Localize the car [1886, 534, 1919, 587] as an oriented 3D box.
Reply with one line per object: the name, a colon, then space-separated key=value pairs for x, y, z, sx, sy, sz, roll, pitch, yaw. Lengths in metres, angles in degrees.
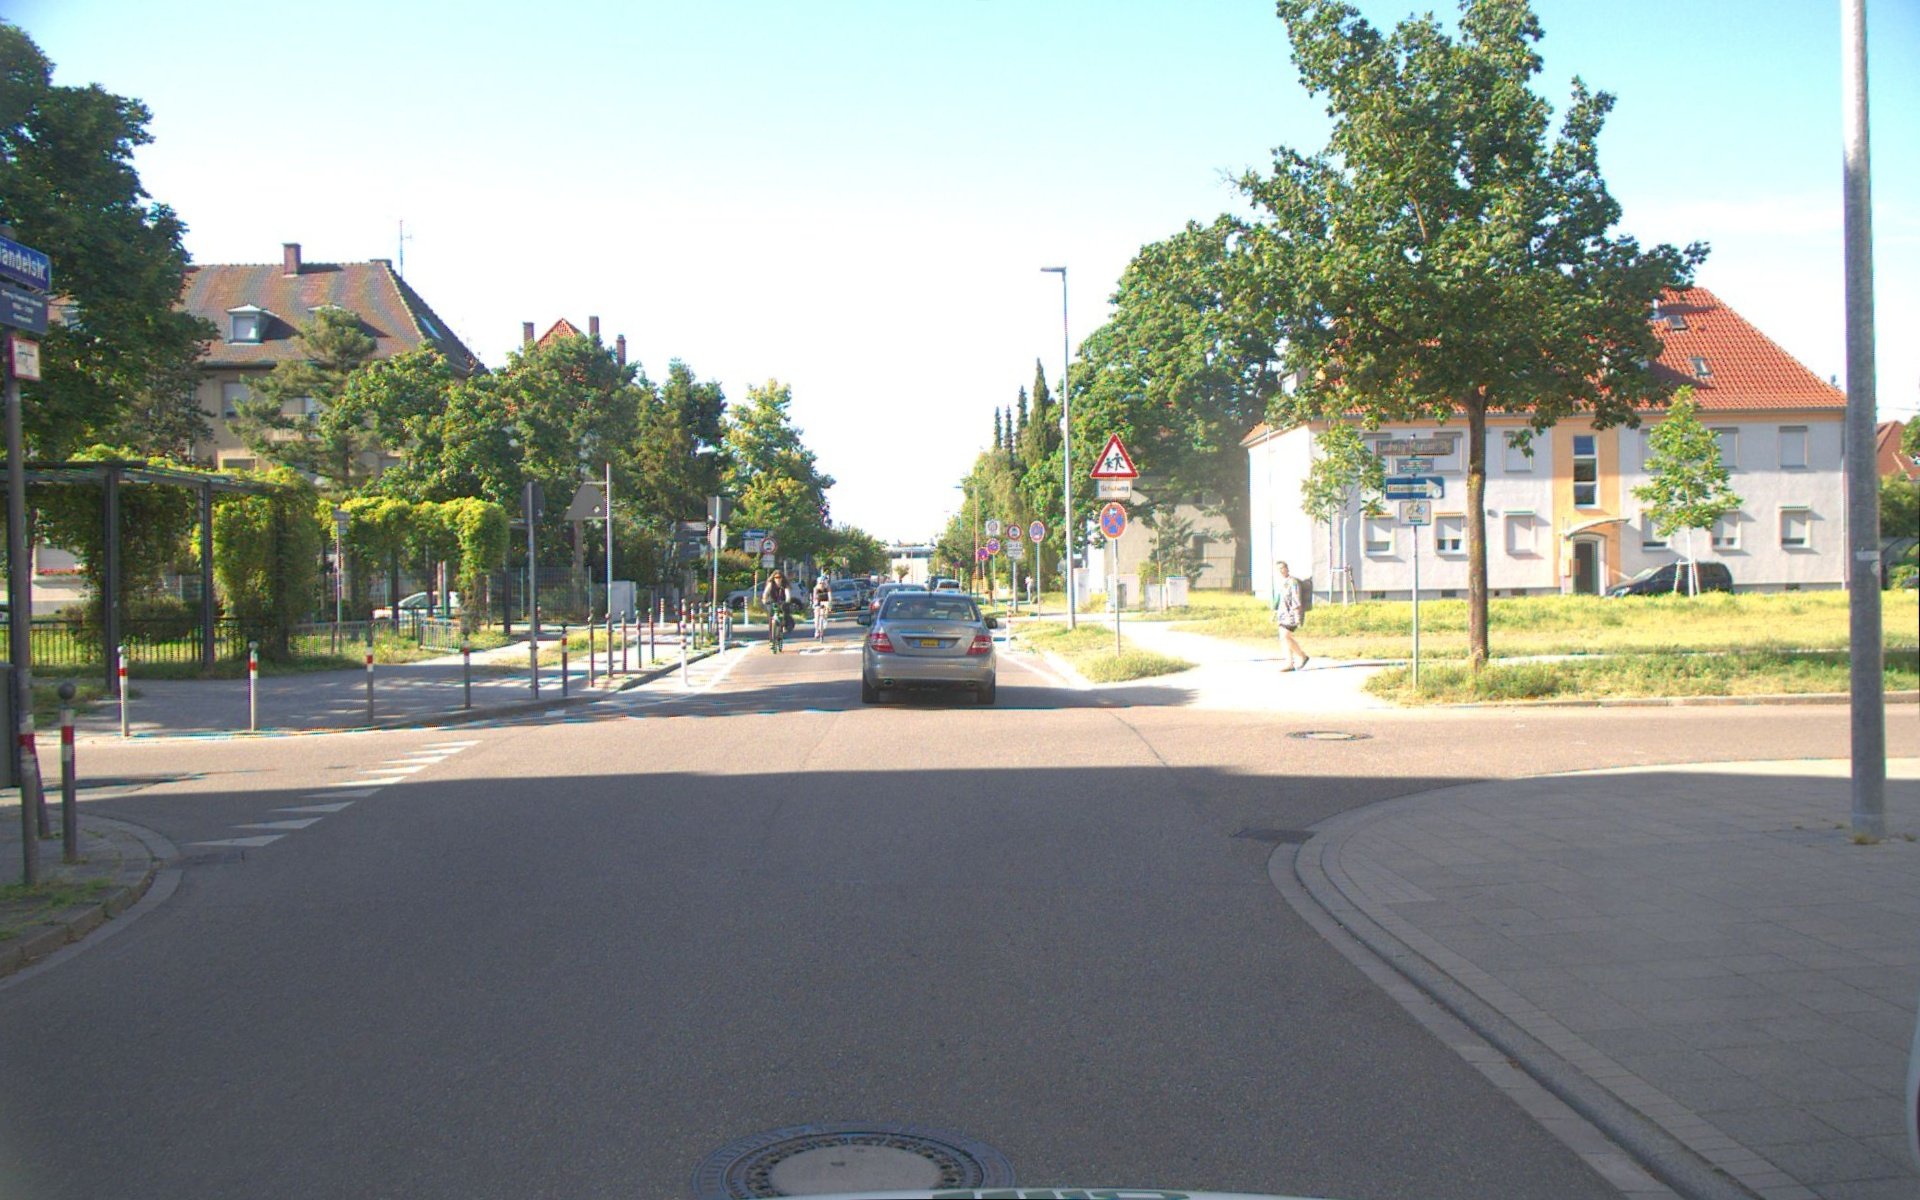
car: x=34.988 y=-1.427 z=57.946 sx=3.991 sy=1.815 sz=1.869 roll=-2 pitch=1 yaw=0

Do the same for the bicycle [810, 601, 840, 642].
bicycle: x=-3.347 y=0.517 z=41.021 sx=0.577 sy=0.948 sz=1.850 roll=-1 pitch=1 yaw=0

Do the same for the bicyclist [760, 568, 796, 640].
bicyclist: x=-3.964 y=0.089 z=36.090 sx=0.666 sy=1.535 sz=0.655 roll=-1 pitch=0 yaw=0

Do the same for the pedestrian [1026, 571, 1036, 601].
pedestrian: x=3.810 y=-0.743 z=88.458 sx=0.499 sy=1.586 sz=0.643 roll=1 pitch=-1 yaw=0

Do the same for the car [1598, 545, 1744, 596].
car: x=24.580 y=-1.014 z=57.289 sx=4.200 sy=1.628 sz=1.900 roll=-2 pitch=1 yaw=0

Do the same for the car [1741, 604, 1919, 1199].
car: x=2.838 y=0.677 z=2.386 sx=1.533 sy=1.435 sz=3.729 roll=-5 pitch=-1 yaw=0

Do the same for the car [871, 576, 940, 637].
car: x=-1.425 y=0.180 z=43.001 sx=1.672 sy=1.473 sz=4.200 roll=1 pitch=-1 yaw=-2

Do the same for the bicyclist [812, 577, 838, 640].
bicyclist: x=-3.358 y=0.214 z=41.069 sx=0.560 sy=1.535 sz=0.655 roll=-1 pitch=0 yaw=0

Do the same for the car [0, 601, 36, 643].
car: x=-33.920 y=0.797 z=56.207 sx=3.909 sy=1.400 sz=1.865 roll=-2 pitch=1 yaw=-5

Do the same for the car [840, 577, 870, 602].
car: x=-6.866 y=-0.693 z=107.768 sx=1.753 sy=1.559 sz=3.995 roll=-2 pitch=1 yaw=-6

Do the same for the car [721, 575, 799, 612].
car: x=-9.142 y=-0.311 z=75.485 sx=3.428 sy=1.560 sz=1.642 roll=-2 pitch=1 yaw=-8

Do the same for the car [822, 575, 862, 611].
car: x=-6.026 y=-0.362 z=84.173 sx=1.837 sy=1.758 sz=3.995 roll=-1 pitch=1 yaw=-6

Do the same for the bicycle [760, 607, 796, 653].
bicycle: x=-3.955 y=0.642 z=36.054 sx=0.577 sy=0.948 sz=1.850 roll=-1 pitch=1 yaw=0

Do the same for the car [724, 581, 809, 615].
car: x=-9.228 y=-0.102 z=79.036 sx=3.908 sy=1.550 sz=1.755 roll=1 pitch=-1 yaw=-4

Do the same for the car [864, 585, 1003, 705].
car: x=-0.340 y=0.573 z=22.263 sx=1.691 sy=1.445 sz=3.959 roll=1 pitch=-1 yaw=-1

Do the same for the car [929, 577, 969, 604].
car: x=-0.610 y=-0.494 z=86.968 sx=1.689 sy=1.353 sz=3.995 roll=-2 pitch=1 yaw=-6

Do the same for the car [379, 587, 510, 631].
car: x=-17.579 y=0.308 z=56.562 sx=3.909 sy=1.400 sz=1.998 roll=1 pitch=-1 yaw=-5

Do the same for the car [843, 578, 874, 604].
car: x=-6.336 y=-0.559 z=102.800 sx=1.753 sy=1.559 sz=3.995 roll=-2 pitch=1 yaw=-6

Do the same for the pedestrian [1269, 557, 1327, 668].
pedestrian: x=5.150 y=0.185 z=25.222 sx=0.635 sy=1.651 sz=0.615 roll=-1 pitch=0 yaw=36

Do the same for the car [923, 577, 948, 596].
car: x=-2.132 y=-1.169 z=142.789 sx=1.753 sy=1.559 sz=3.995 roll=-2 pitch=1 yaw=-6
